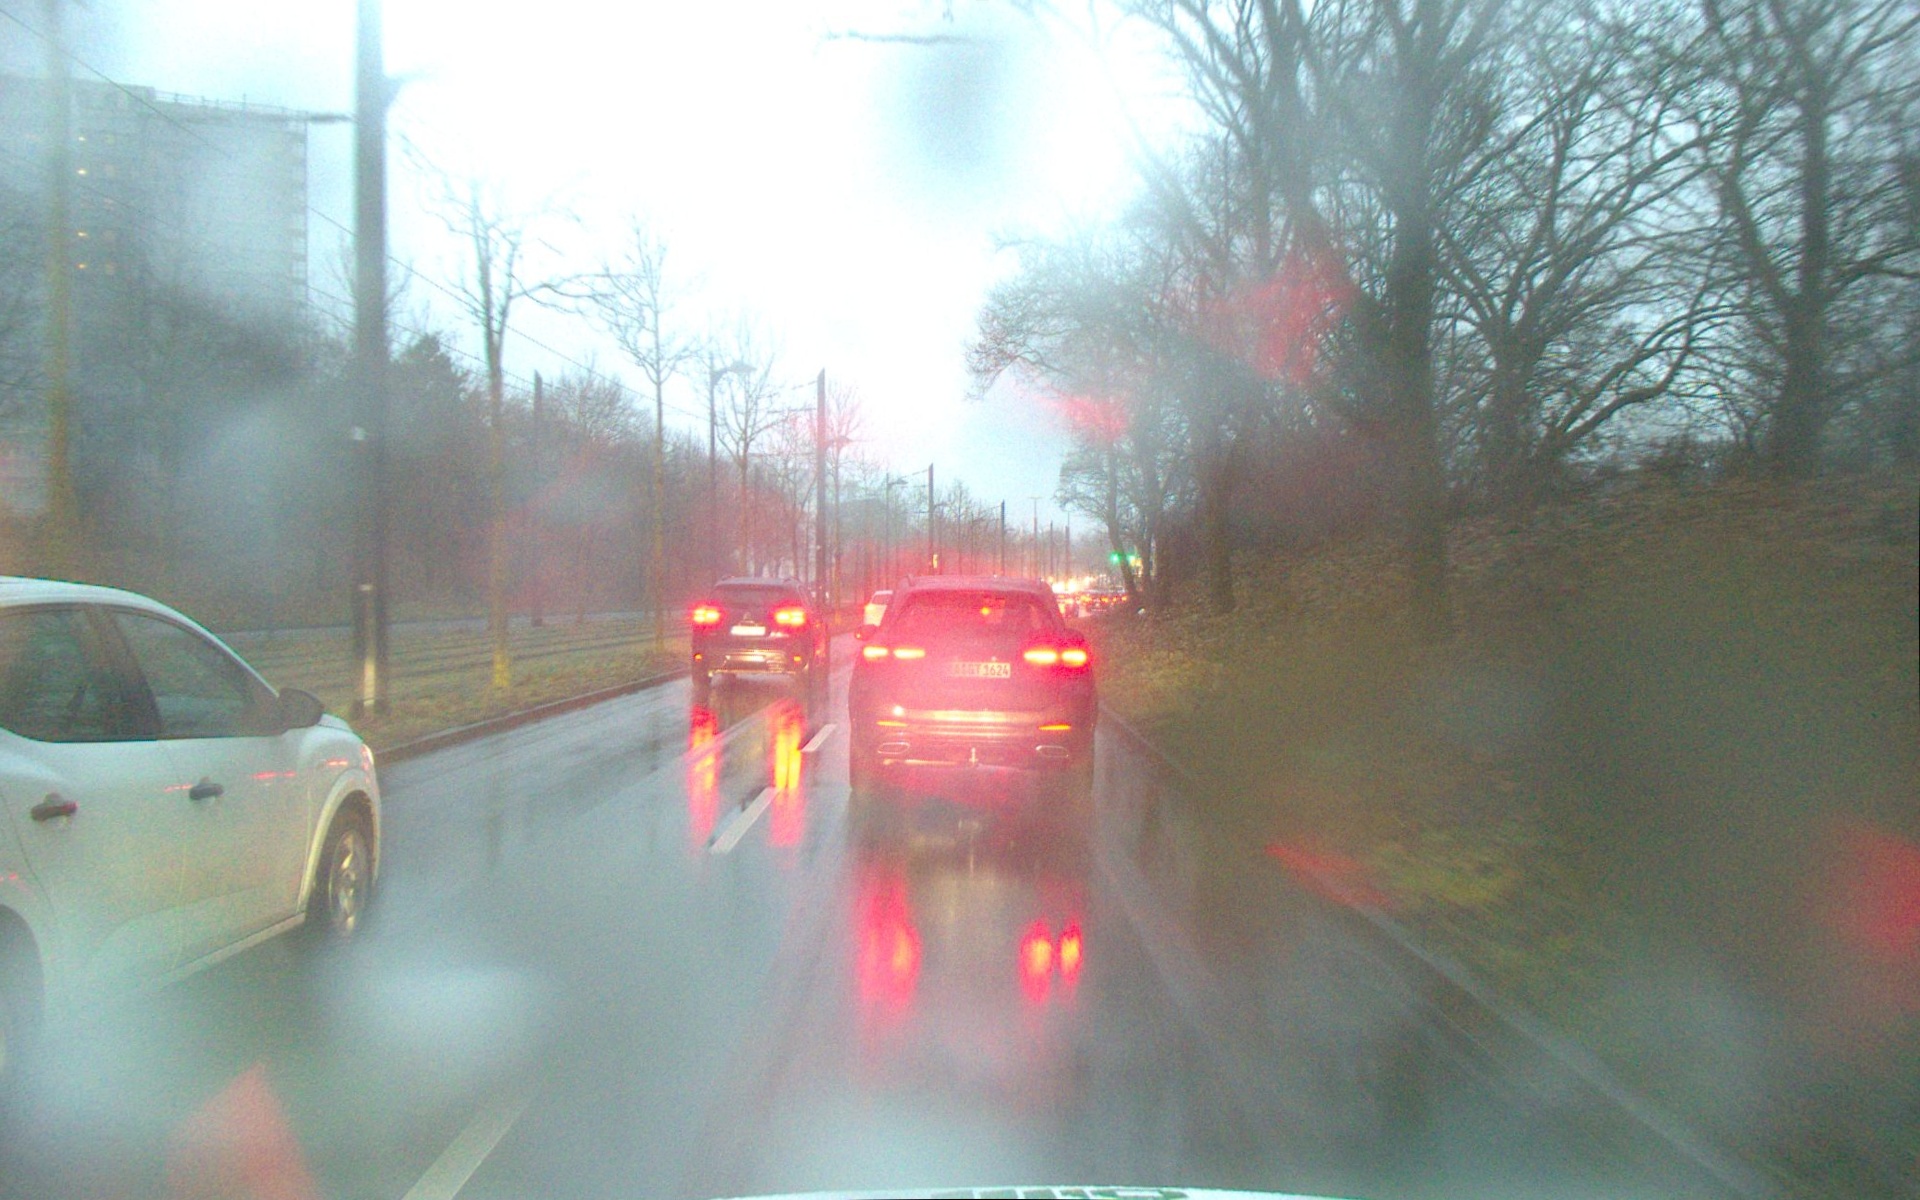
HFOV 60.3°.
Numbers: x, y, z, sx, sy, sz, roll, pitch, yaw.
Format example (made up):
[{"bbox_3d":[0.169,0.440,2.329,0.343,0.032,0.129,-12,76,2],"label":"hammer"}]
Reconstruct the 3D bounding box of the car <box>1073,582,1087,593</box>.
[{"bbox_3d":[18.359,-1.944,253.221,1.951,1.695,3.840,0,0,8],"label":"car"}]

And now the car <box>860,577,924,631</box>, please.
[{"bbox_3d":[-2.074,0.093,51.537,1.841,1.621,4.000,0,1,0],"label":"car"}]

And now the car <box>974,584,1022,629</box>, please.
[{"bbox_3d":[1.375,0.211,59.988,1.673,1.585,3.997,0,0,1],"label":"car"}]

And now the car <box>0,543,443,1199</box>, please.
[{"bbox_3d":[-3.093,0.632,5.180,1.674,1.551,4.134,0,0,0],"label":"car"}]

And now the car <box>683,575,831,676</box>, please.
[{"bbox_3d":[-3.137,0.342,26.302,1.841,1.484,4.000,0,1,0],"label":"car"}]

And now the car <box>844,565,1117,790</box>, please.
[{"bbox_3d":[0.041,0.536,13.949,1.958,1.611,3.998,1,1,-3],"label":"car"}]
